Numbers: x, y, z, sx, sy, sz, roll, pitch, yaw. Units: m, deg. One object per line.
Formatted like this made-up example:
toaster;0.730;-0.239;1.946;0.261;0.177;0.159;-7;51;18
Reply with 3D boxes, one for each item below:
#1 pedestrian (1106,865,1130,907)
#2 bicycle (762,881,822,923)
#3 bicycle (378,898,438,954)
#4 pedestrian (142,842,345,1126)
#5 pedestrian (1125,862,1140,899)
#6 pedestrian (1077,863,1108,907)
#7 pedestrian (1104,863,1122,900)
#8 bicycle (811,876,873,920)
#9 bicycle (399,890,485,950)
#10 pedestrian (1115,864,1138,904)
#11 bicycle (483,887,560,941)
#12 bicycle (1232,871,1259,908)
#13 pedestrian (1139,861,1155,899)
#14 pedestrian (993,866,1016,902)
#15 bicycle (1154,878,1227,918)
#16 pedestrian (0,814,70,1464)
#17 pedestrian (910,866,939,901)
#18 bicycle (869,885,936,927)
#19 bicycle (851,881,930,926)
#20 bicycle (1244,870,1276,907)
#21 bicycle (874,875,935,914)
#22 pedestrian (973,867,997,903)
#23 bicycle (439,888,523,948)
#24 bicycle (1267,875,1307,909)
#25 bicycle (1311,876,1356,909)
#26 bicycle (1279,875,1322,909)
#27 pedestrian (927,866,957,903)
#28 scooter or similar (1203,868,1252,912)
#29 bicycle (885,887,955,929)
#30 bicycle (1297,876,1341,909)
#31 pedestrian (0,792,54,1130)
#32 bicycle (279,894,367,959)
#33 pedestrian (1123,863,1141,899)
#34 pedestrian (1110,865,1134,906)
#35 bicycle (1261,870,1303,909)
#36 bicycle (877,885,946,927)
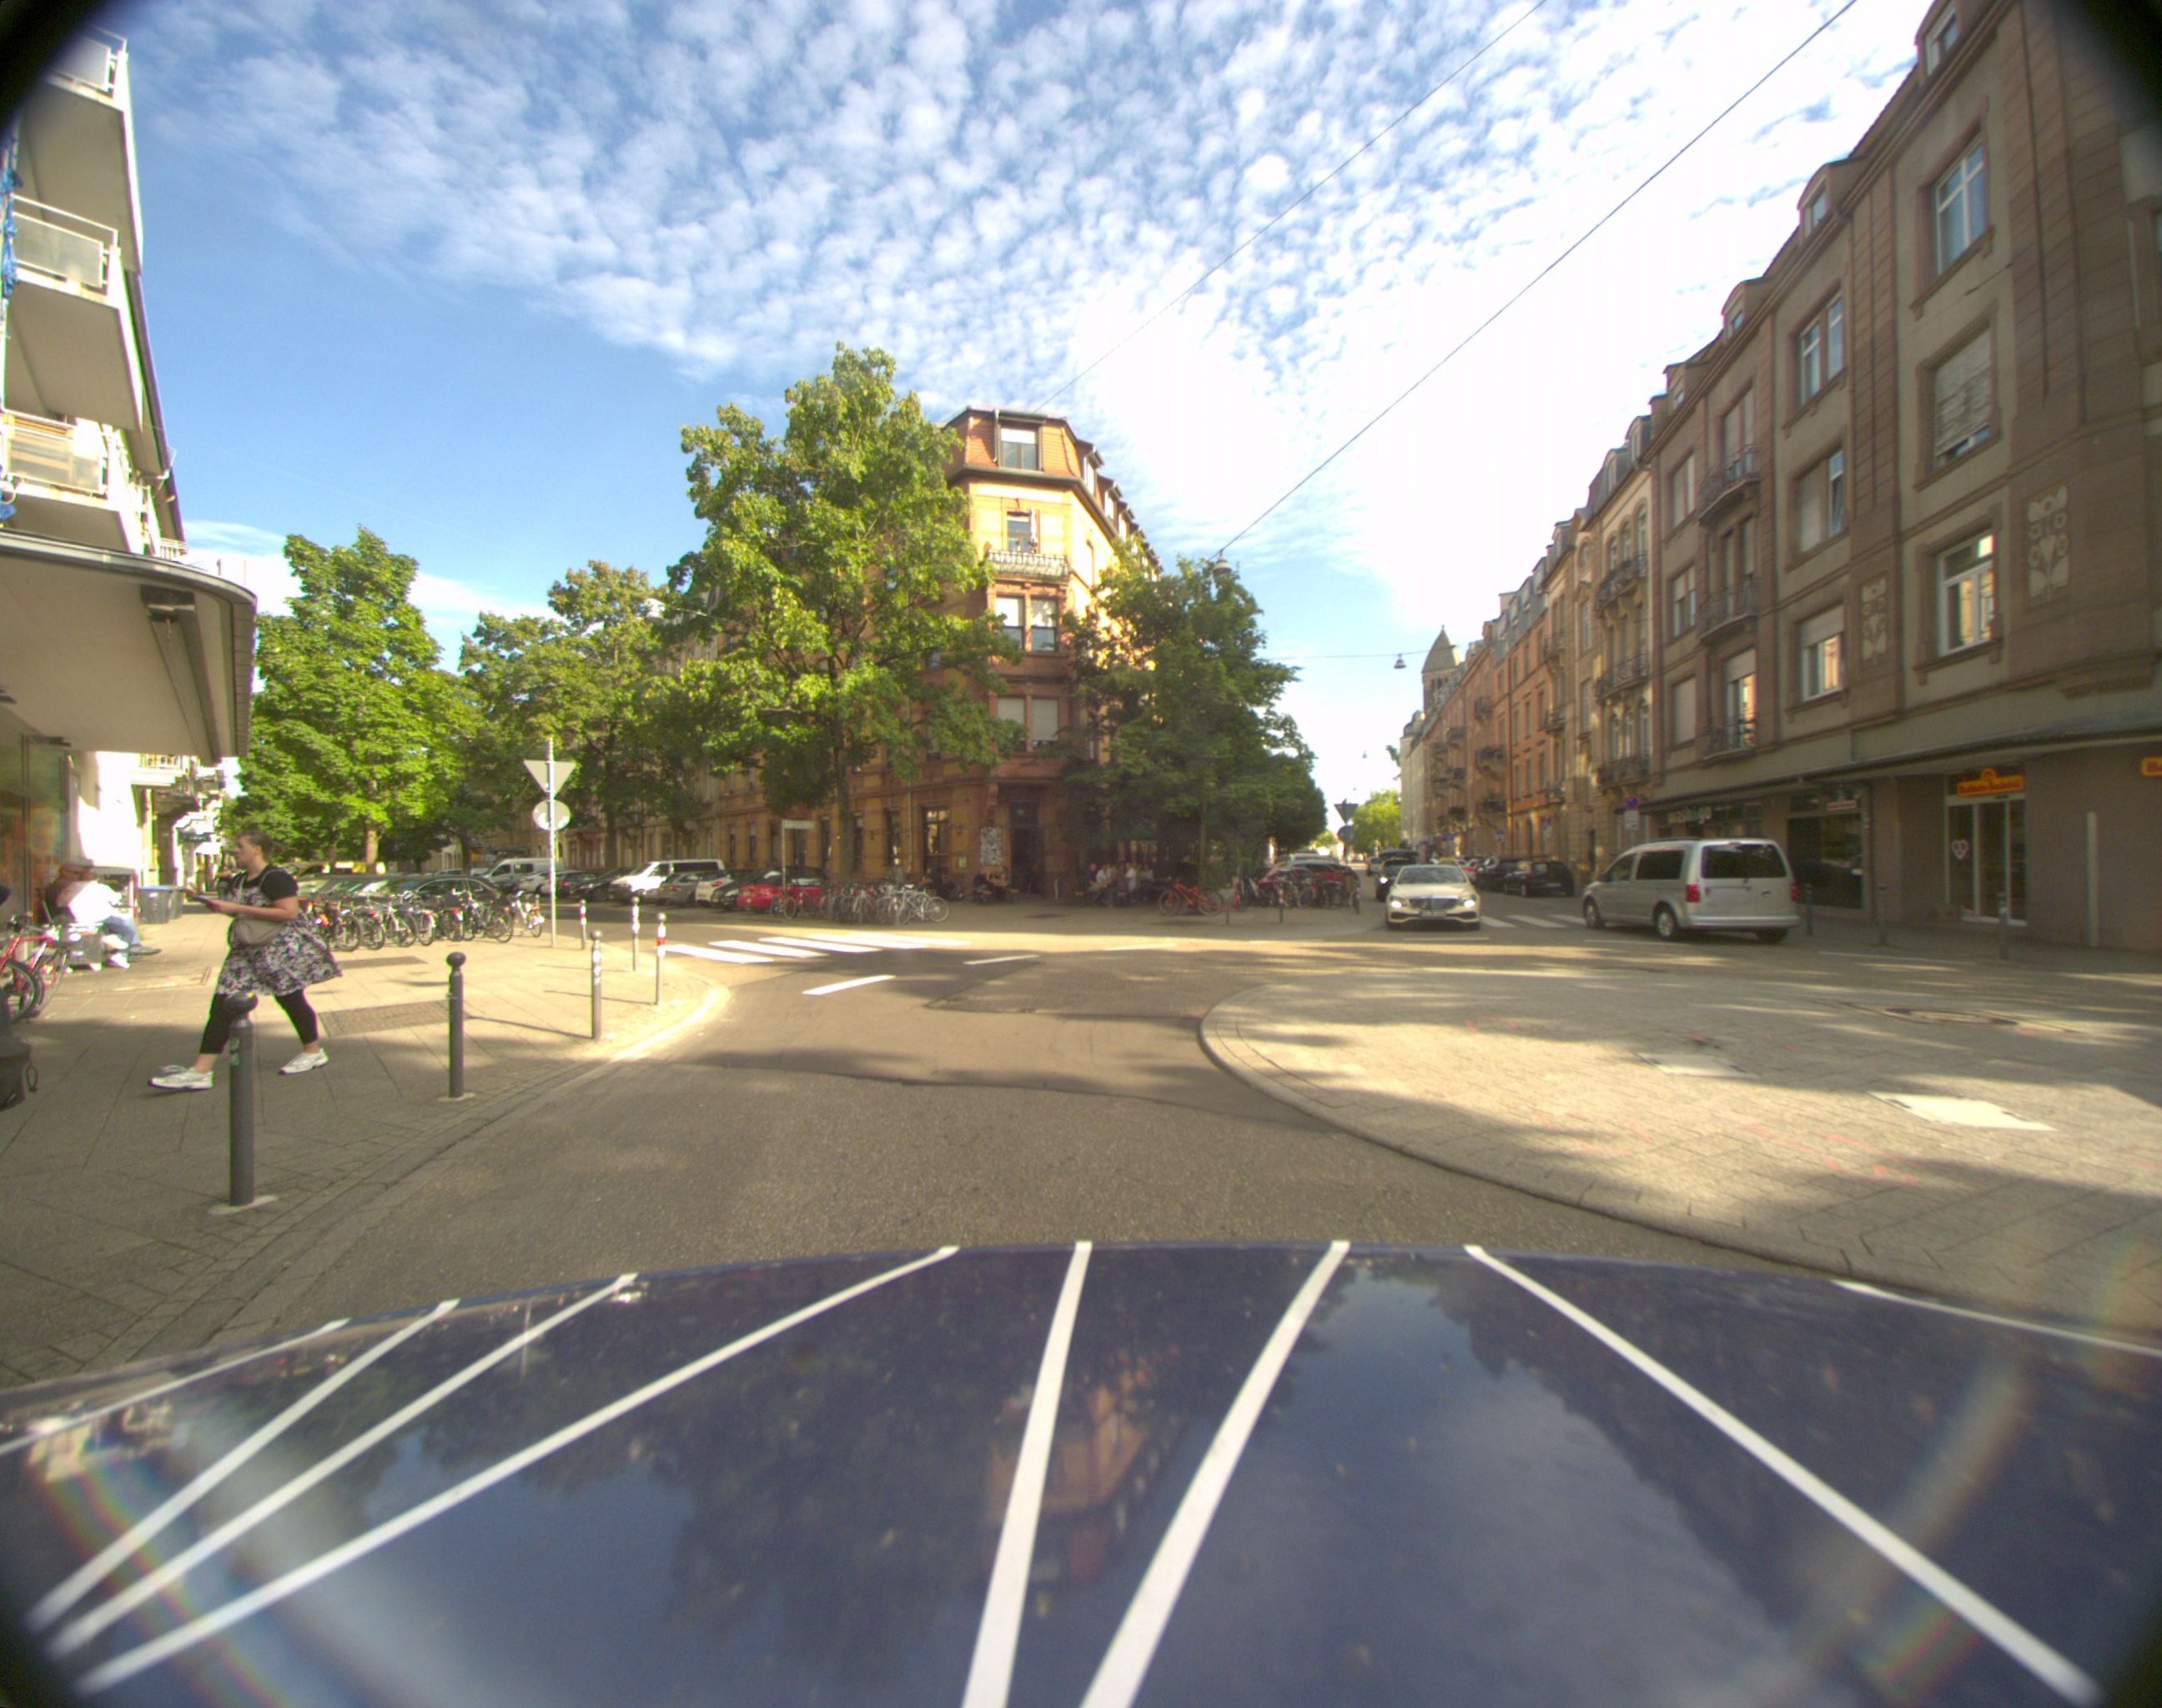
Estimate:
pedestrian;1.183;1.017;24.079;0.728;1.307;0.521;0;0;6
bicycle;-8.631;1.401;22.595;2.493;1.090;0.583;0;4;44
bicycle;-13.096;1.377;14.784;1.498;1.012;0.414;-1;-1;30
pedestrian;-5.626;0.801;5.165;0.844;1.743;0.612;-1;0;-41
pedestrian;1.881;0.954;27.880;0.467;1.319;0.621;-1;1;-6
pedestrian;0.365;1.000;24.696;0.671;1.371;0.715;-2;1;-37
pedestrian;1.139;0.964;26.955;0.548;1.293;0.621;-1;1;-6
bicycle;-7.207;1.313;22.984;1.715;1.195;0.447;-3;2;-43
bicycle;-12.956;1.317;15.402;1.849;1.169;0.414;-1;-1;18
pedestrian;1.518;0.987;25.197;0.728;1.307;0.608;0;0;6
bicycle;-12.718;1.341;17.255;1.849;1.169;0.414;-1;-1;18
bicycle;5.305;1.122;24.596;0.434;1.094;1.674;1;1;-2
pedestrian;2.390;0.929;27.381;0.467;1.319;0.621;-1;1;-6
pedestrian;-2.763;1.068;27.413;0.643;1.252;0.510;-3;3;-39
bicycle;2.961;1.163;20.480;1.853;1.029;0.684;0;0;17
pedestrian;-3.223;0.771;1.800;0.715;1.786;0.631;2;0;-17
pedestrian;-5.851;1.095;28.462;0.627;1.278;0.770;-1;2;41
bicycle;-4.832;1.387;20.615;1.715;0.981;0.447;-2;2;-34
bicycle;-5.221;1.338;20.892;2.049;1.082;0.447;-2;2;-34
bicycle;5.798;1.106;24.667;0.475;1.094;1.674;1;1;-6
bicycle;-5.629;1.281;24.304;1.803;1.108;0.598;-3;2;-43
pedestrian;-3.423;1.108;26.973;0.643;1.218;0.510;-3;3;-39
bicycle;-12.361;1.302;15.647;1.849;1.169;0.414;-1;-1;18
bicycle;6.657;1.204;24.627;0.418;0.979;1.836;1;1;-13
bicycle;8.234;1.250;24.890;0.472;0.979;1.863;1;1;-13
bicycle;7.135;1.225;24.741;0.472;0.979;1.863;1;1;-13
pedestrian;-5.108;1.115;27.936;0.627;1.278;0.770;-1;2;41
scooter or similar;4.230;1.035;22.035;0.557;1.203;1.289;2;-1;-44
bicycle;-4.218;1.393;19.963;1.715;0.964;0.447;-2;2;-34
bicycle;7.767;1.235;24.911;0.472;0.979;1.863;1;1;-13
pedestrian;-6.752;0.625;4.146;0.864;2.001;1.033;1;-1;-12
bicycle;-13.706;1.297;13.737;1.694;1.079;0.422;1;0;19
pedestrian;1.798;0.941;26.925;0.548;1.225;0.621;-1;1;-6
pedestrian;1.332;1.020;24.569;0.728;1.307;0.521;0;0;6
bicycle;6.382;1.123;24.258;0.475;1.136;1.836;1;1;-13
bicycle;-4.520;1.380;20.305;1.715;0.981;0.447;-2;2;-34
